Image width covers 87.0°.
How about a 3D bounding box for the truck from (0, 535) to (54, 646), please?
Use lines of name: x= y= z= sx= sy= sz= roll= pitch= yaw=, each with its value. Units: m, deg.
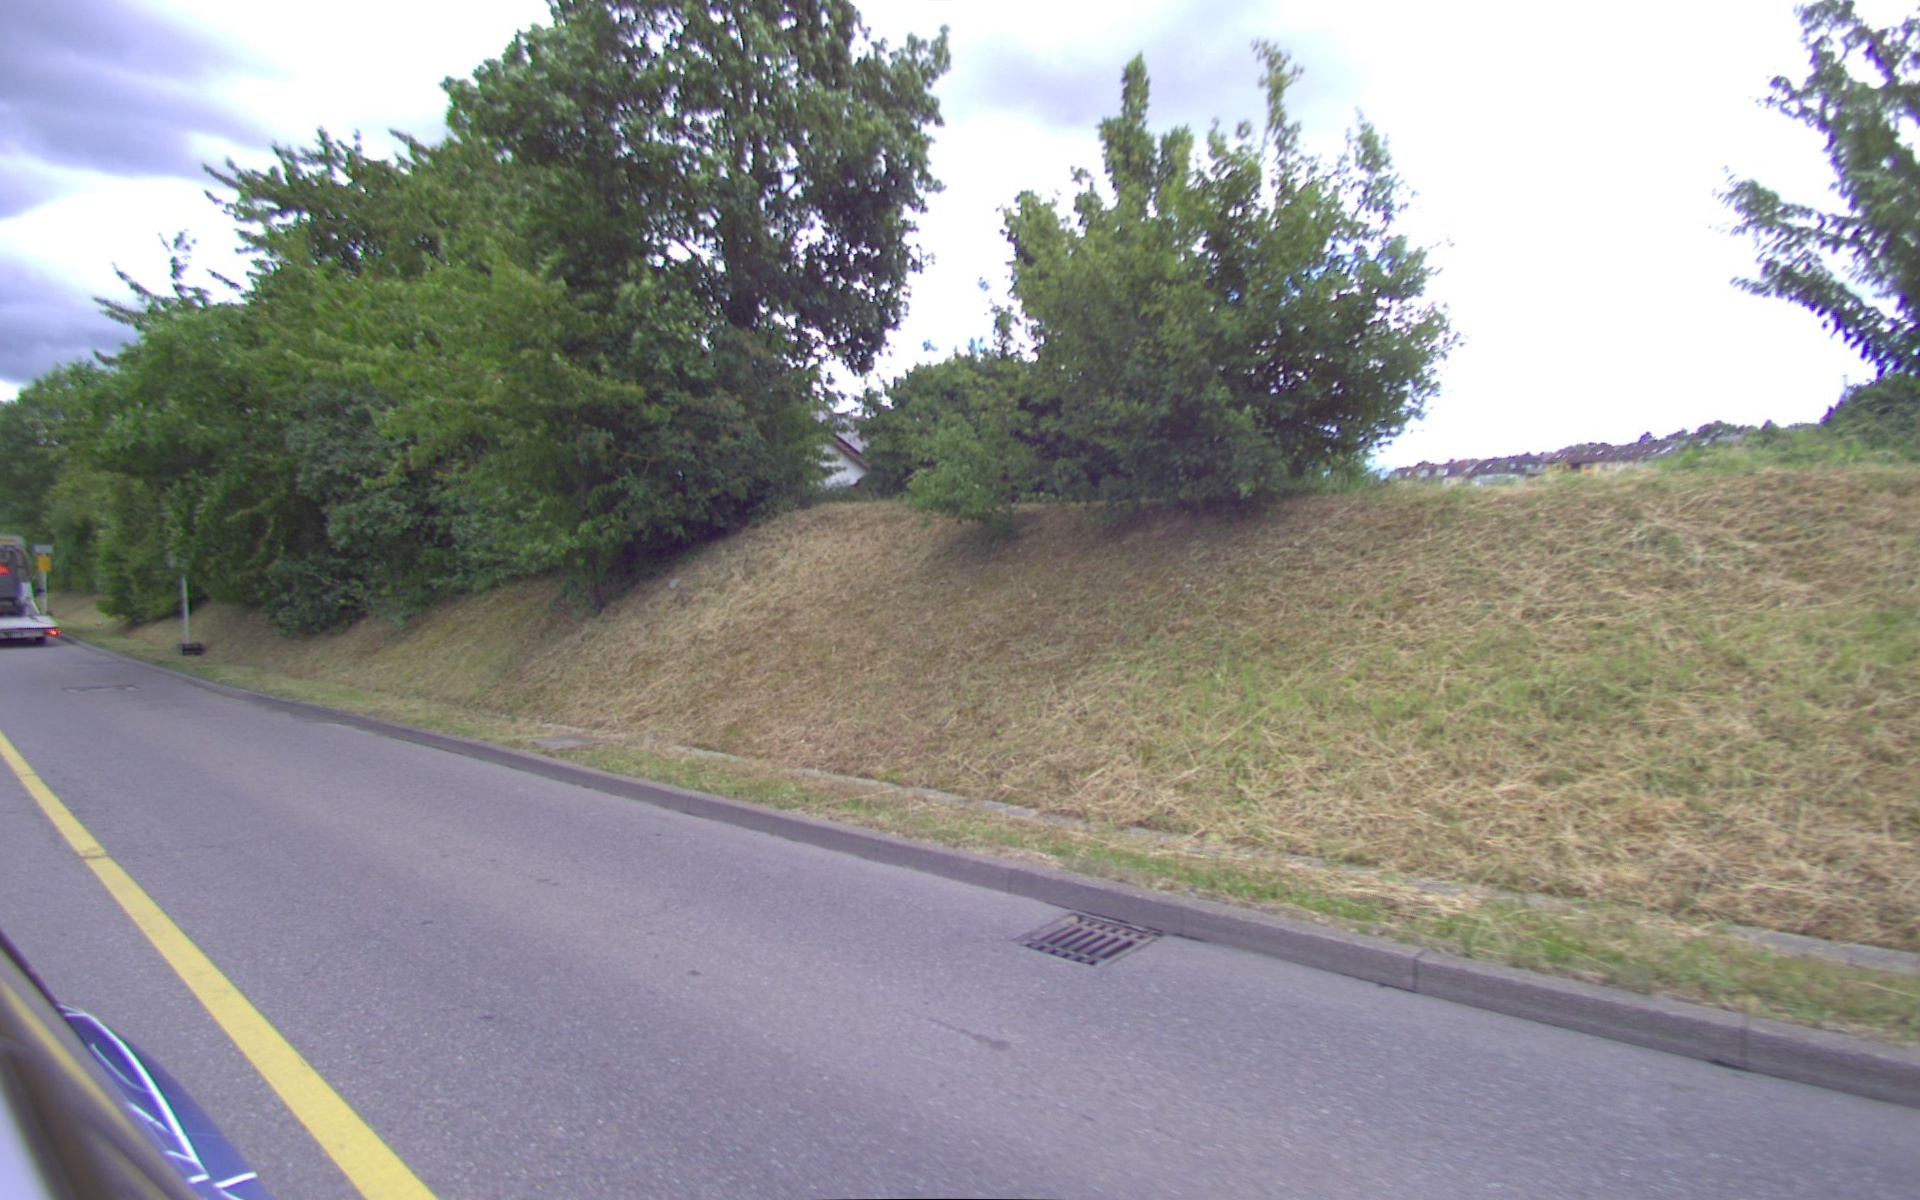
truck: x=-29.091 y=-0.252 z=30.332 sx=7.739 sy=3.037 sz=2.191 roll=0 pitch=-1 yaw=43
